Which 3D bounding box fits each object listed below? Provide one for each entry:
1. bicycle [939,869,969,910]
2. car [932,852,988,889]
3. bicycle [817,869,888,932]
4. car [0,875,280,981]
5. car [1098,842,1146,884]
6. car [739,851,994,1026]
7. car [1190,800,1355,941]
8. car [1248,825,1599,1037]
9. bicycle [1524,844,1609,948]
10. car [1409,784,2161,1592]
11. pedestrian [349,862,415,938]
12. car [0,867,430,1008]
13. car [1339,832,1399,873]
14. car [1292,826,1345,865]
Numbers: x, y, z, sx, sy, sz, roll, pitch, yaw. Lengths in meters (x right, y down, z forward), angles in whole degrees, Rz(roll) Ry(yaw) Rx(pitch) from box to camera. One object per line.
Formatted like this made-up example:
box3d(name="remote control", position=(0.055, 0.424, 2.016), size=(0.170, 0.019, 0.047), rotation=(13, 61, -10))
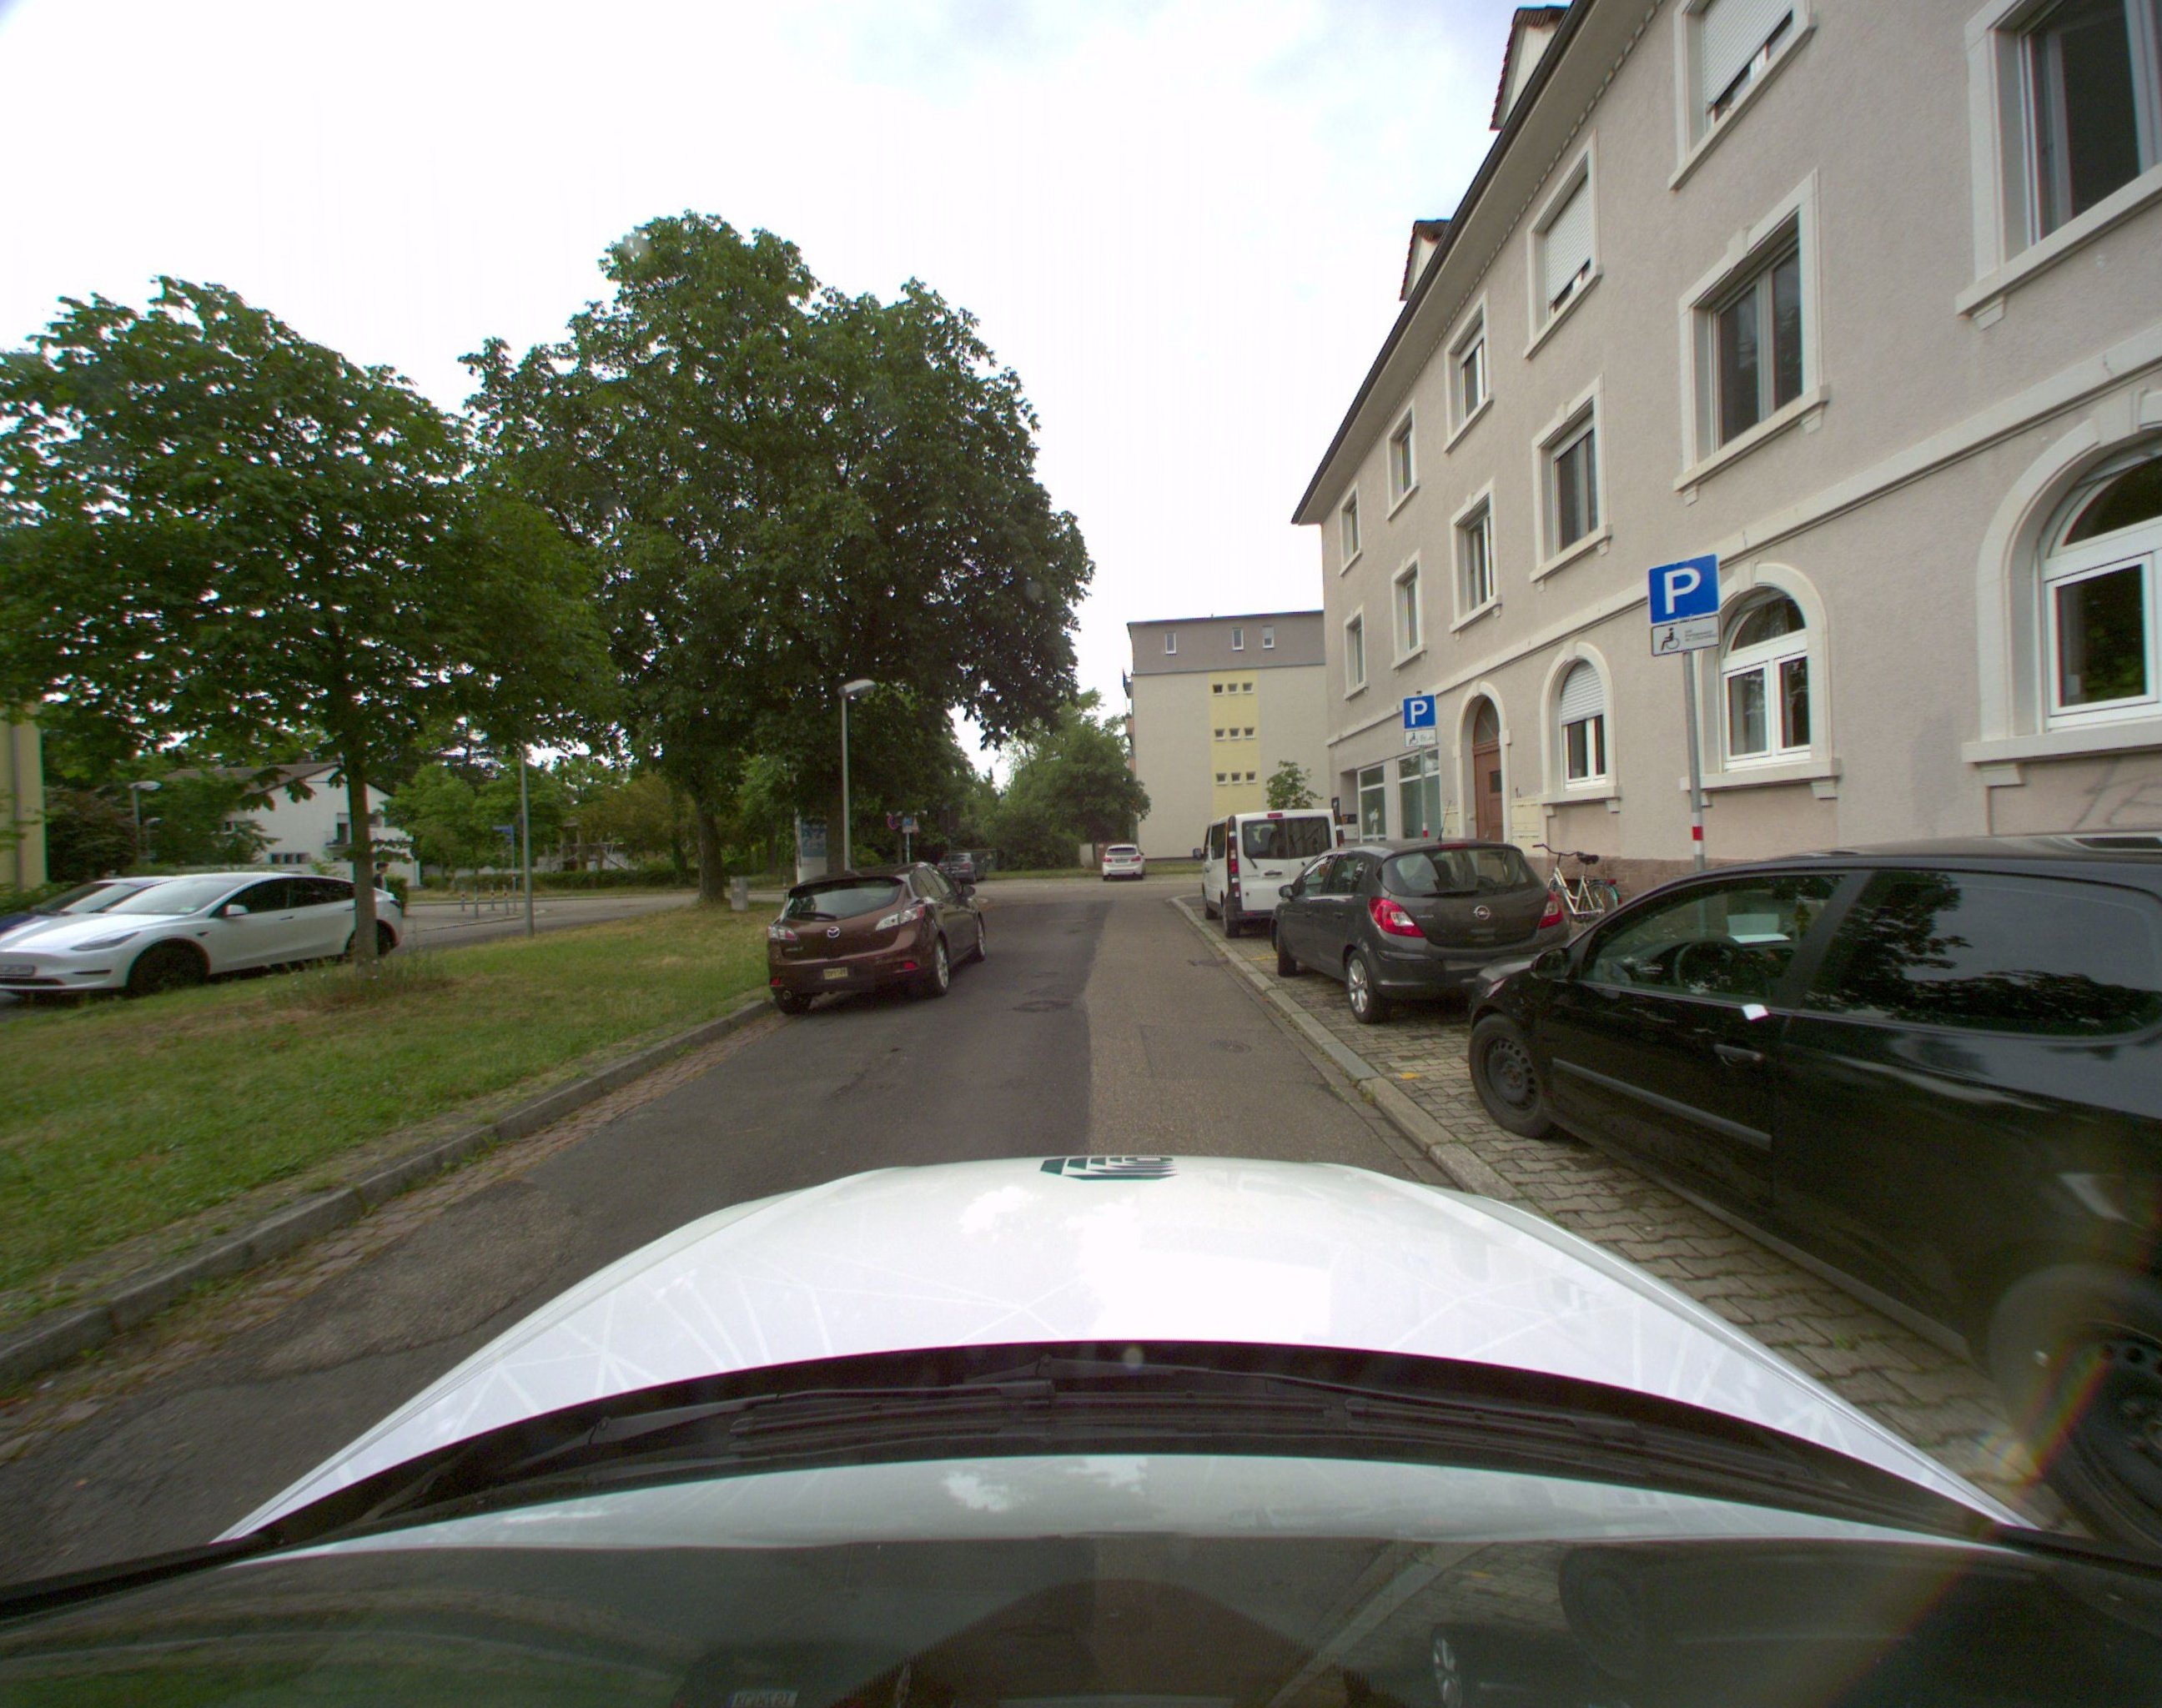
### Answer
box3d(name="bicycle", position=(-3.420, 0.940, 22.069), size=(0.509, 0.985, 2.182), rotation=(0, 1, 0))
box3d(name="car", position=(-5.559, 0.700, 37.875), size=(1.668, 1.454, 4.564), rotation=(-2, 1, 3))
box3d(name="bicycle", position=(-4.314, 0.851, 15.531), size=(0.663, 1.066, 1.887), rotation=(-2, 0, 4))
box3d(name="car", position=(-18.228, 1.271, 15.412), size=(1.691, 1.566, 4.217), rotation=(-1, 0, 6))
box3d(name="car", position=(1.940, 0.351, 37.145), size=(1.868, 1.560, 4.158), rotation=(-1, 4, 7))
box3d(name="car", position=(-2.280, 0.807, 9.888), size=(1.704, 1.458, 4.165), rotation=(-7, 0, 2))
box3d(name="car", position=(3.196, 0.215, 14.673), size=(1.871, 1.995, 5.015), rotation=(-3, 1, 2))
box3d(name="car", position=(2.974, 0.554, 8.049), size=(1.683, 1.454, 3.900), rotation=(-4, 1, -1))
box3d(name="bicycle", position=(5.913, 0.481, 9.970), size=(0.318, 1.182, 1.156), rotation=(-2, 0, 0))
box3d(name="car", position=(2.820, 0.555, 2.699), size=(1.681, 1.454, 4.547), rotation=(-4, 1, 2))
box3d(name="pedestrian", position=(-17.981, 1.160, 20.983), size=(1.225, 1.836, 0.868), rotation=(-2, 0, -39))
box3d(name="car", position=(-12.895, 1.067, 12.382), size=(1.889, 1.566, 4.886), rotation=(-2, 0, 2))
box3d(name="car", position=(12.883, -0.121, 36.649), size=(1.898, 1.697, 4.081), rotation=(-2, 1, 11))
box3d(name="car", position=(10.420, -0.415, 36.005), size=(1.824, 1.565, 4.371), rotation=(-2, 1, 11))
